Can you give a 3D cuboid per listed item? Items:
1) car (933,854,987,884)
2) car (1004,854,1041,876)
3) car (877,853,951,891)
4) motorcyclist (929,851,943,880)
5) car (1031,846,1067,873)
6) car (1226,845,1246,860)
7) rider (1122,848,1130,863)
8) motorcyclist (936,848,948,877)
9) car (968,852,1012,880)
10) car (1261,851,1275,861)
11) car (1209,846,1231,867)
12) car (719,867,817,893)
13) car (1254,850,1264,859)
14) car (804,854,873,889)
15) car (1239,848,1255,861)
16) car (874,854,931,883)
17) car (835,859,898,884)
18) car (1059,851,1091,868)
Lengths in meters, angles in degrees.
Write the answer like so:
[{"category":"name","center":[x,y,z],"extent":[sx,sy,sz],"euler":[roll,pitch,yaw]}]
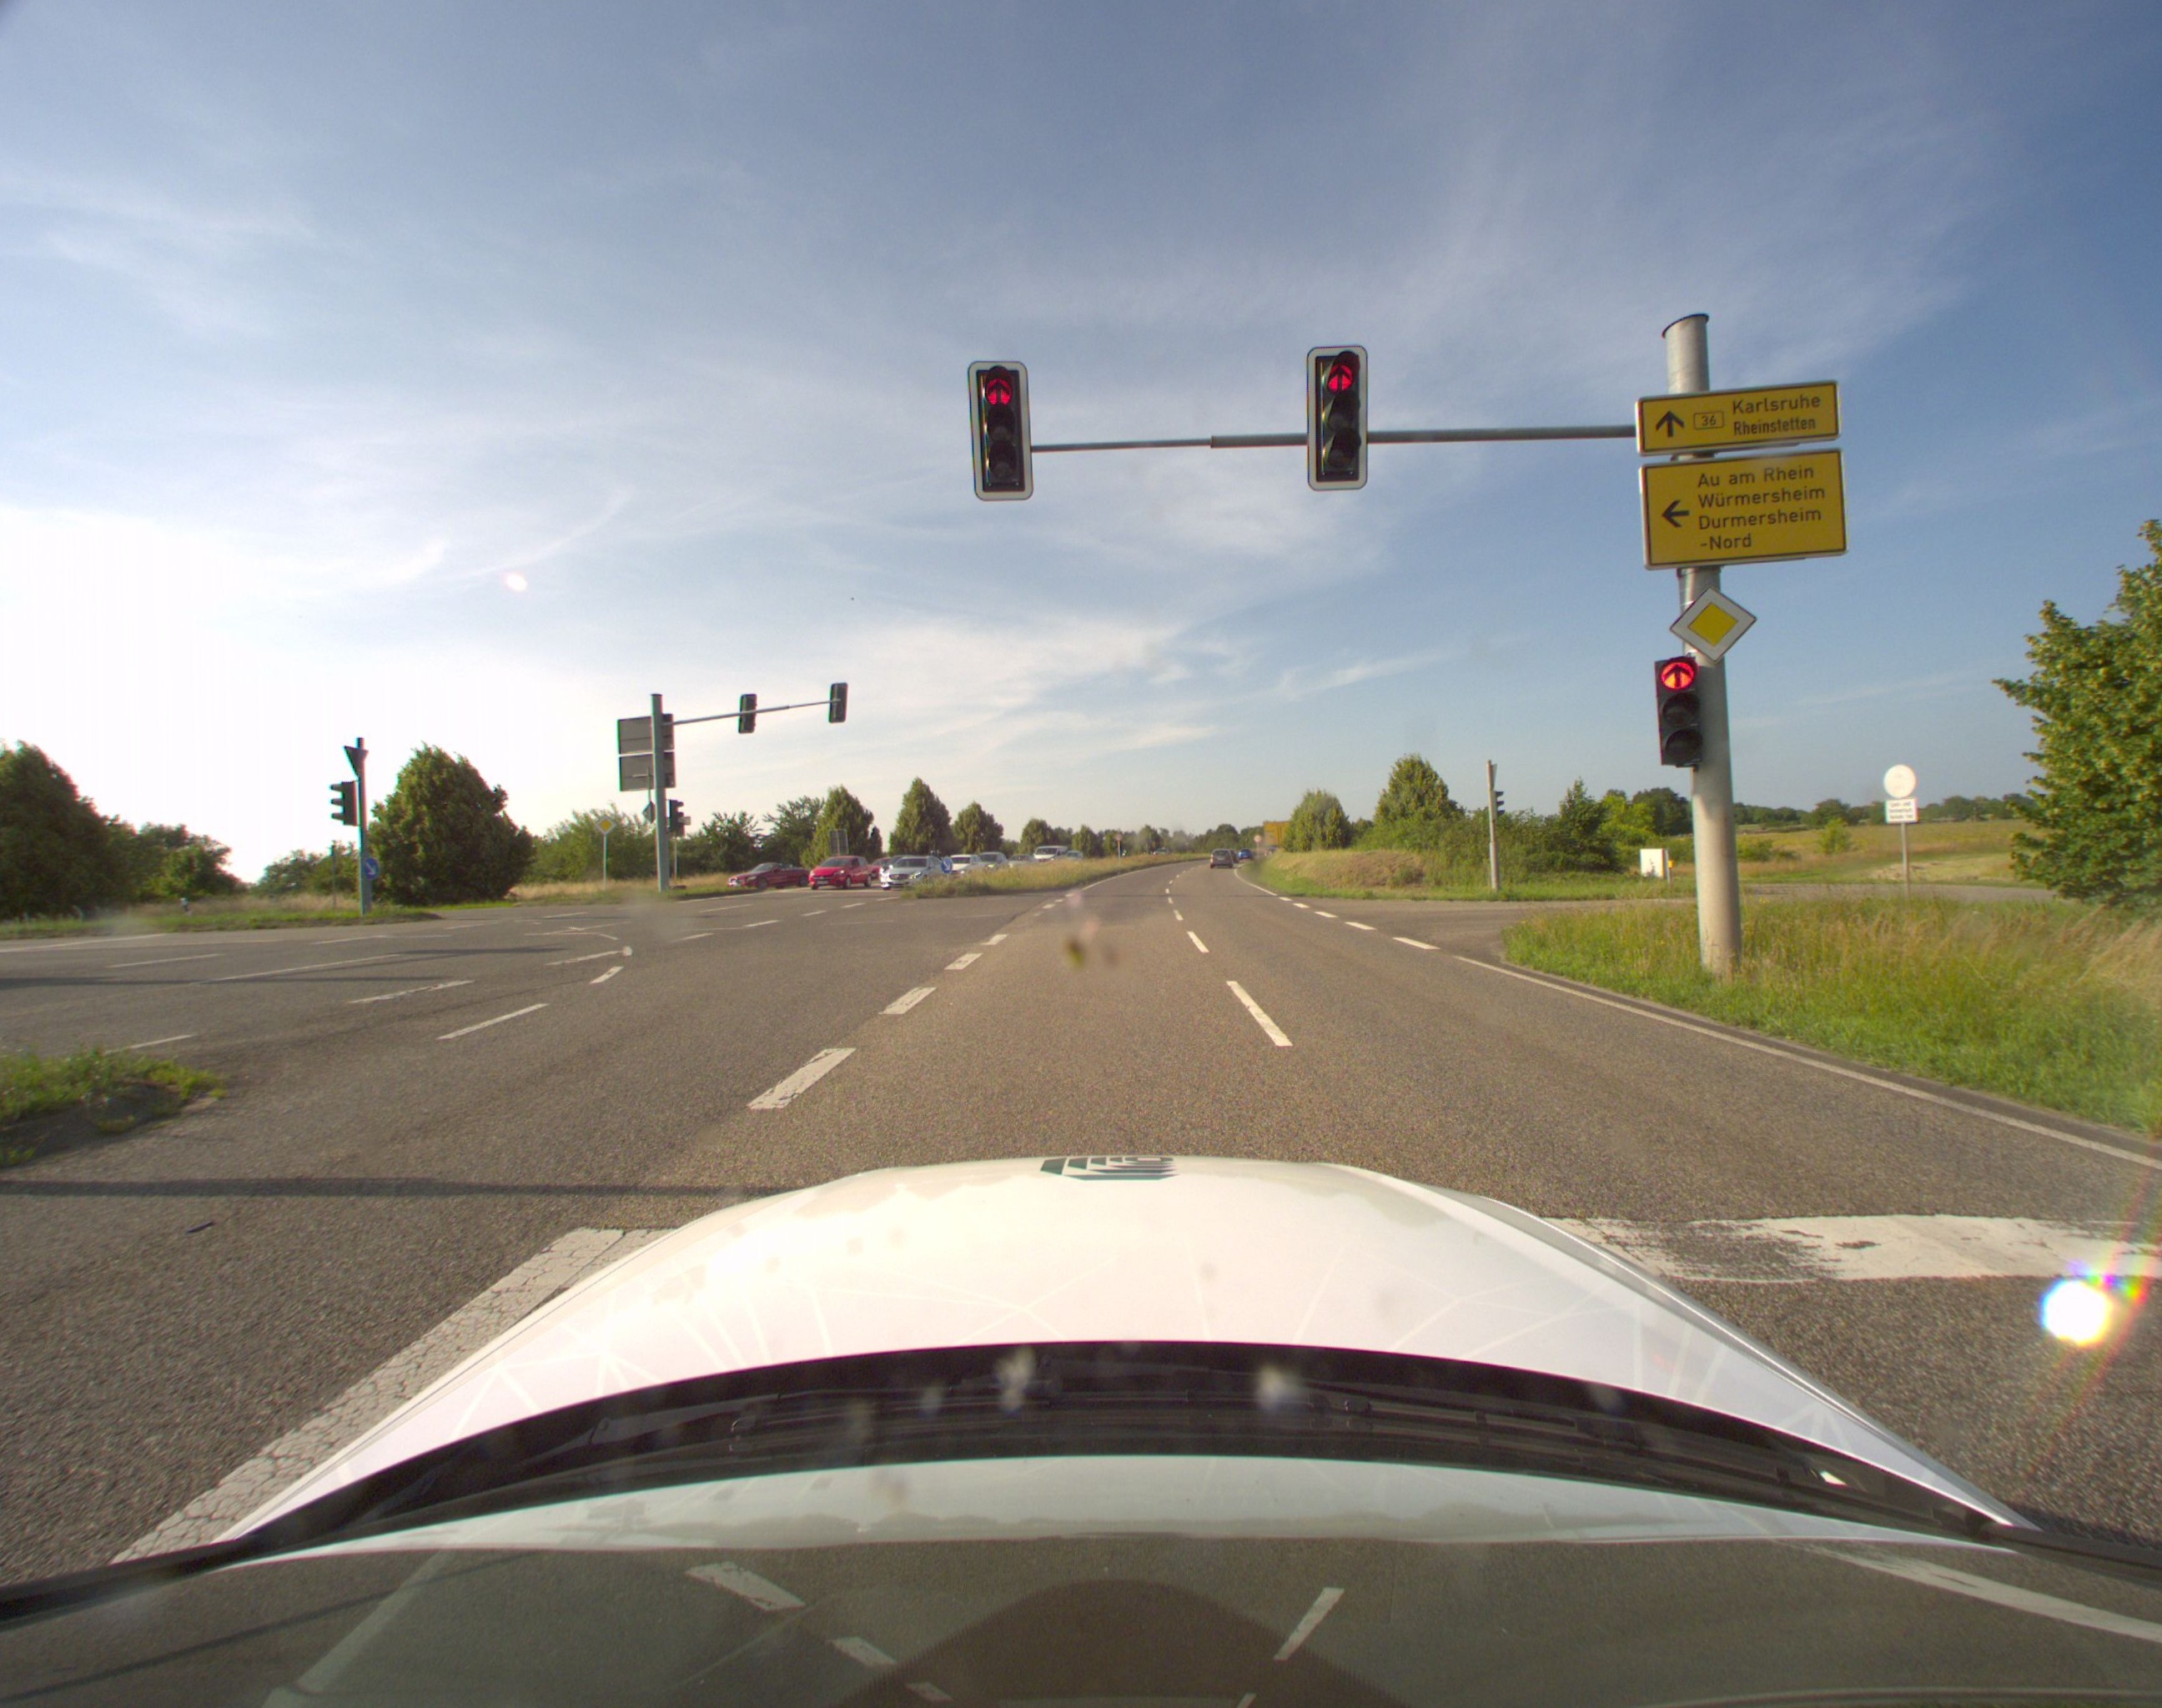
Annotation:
[{"category":"car","center":[-6.384,0.774,43.514],"extent":[1.777,1.433,4.316],"euler":[-2,0,6]},{"category":"car","center":[-4.002,0.740,55.952],"extent":[1.777,1.385,4.058],"euler":[-2,0,6]},{"category":"car","center":[-7.253,0.750,35.773],"extent":[1.777,1.488,4.659],"euler":[-2,0,6]},{"category":"motorcyclist","center":[-8.838,0.688,49.618],"extent":[0.660,1.747,0.605],"euler":[-2,0,-1]},{"category":"car","center":[-2.521,0.437,65.222],"extent":[1.913,2.078,4.255],"euler":[-2,0,10]},{"category":"car","center":[16.539,-0.165,86.815],"extent":[1.796,1.565,4.549],"euler":[-1,0,15]},{"category":"rider","center":[6.208,0.188,113.160],"extent":[0.861,2.013,0.775],"euler":[-2,0,17]},{"category":"motorcyclist","center":[-8.992,0.553,52.755],"extent":[0.660,1.817,0.605],"euler":[-2,0,-1]},{"category":"car","center":[-5.504,0.687,49.701],"extent":[1.777,1.568,4.058],"euler":[-2,0,6]},{"category":"car","center":[28.479,0.289,123.862],"extent":[1.900,1.416,3.811],"euler":[-1,-1,15]},{"category":"car","center":[11.652,0.234,68.207],"extent":[1.773,1.605,4.207],"euler":[-1,-1,10]},{"category":"car","center":[-15.566,1.252,40.712],"extent":[1.976,1.101,4.502],"euler":[-2,0,22]},{"category":"car","center":[31.617,0.060,144.710],"extent":[1.760,1.492,3.999],"euler":[-1,0,13]},{"category":"car","center":[-10.941,0.756,37.065],"extent":[1.713,1.488,3.808],"euler":[-2,0,4]},{"category":"car","center":[20.901,0.071,102.521],"extent":[1.760,1.492,4.001],"euler":[-1,0,15]},{"category":"car","center":[-9.756,0.773,44.812],"extent":[1.777,1.433,4.058],"euler":[-2,0,6]},{"category":"car","center":[-12.613,1.002,48.166],"extent":[1.646,1.326,4.230],"euler":[-2,0,15]},{"category":"car","center":[-0.502,0.502,73.695],"extent":[1.772,1.385,4.068],"euler":[-2,0,16]}]
